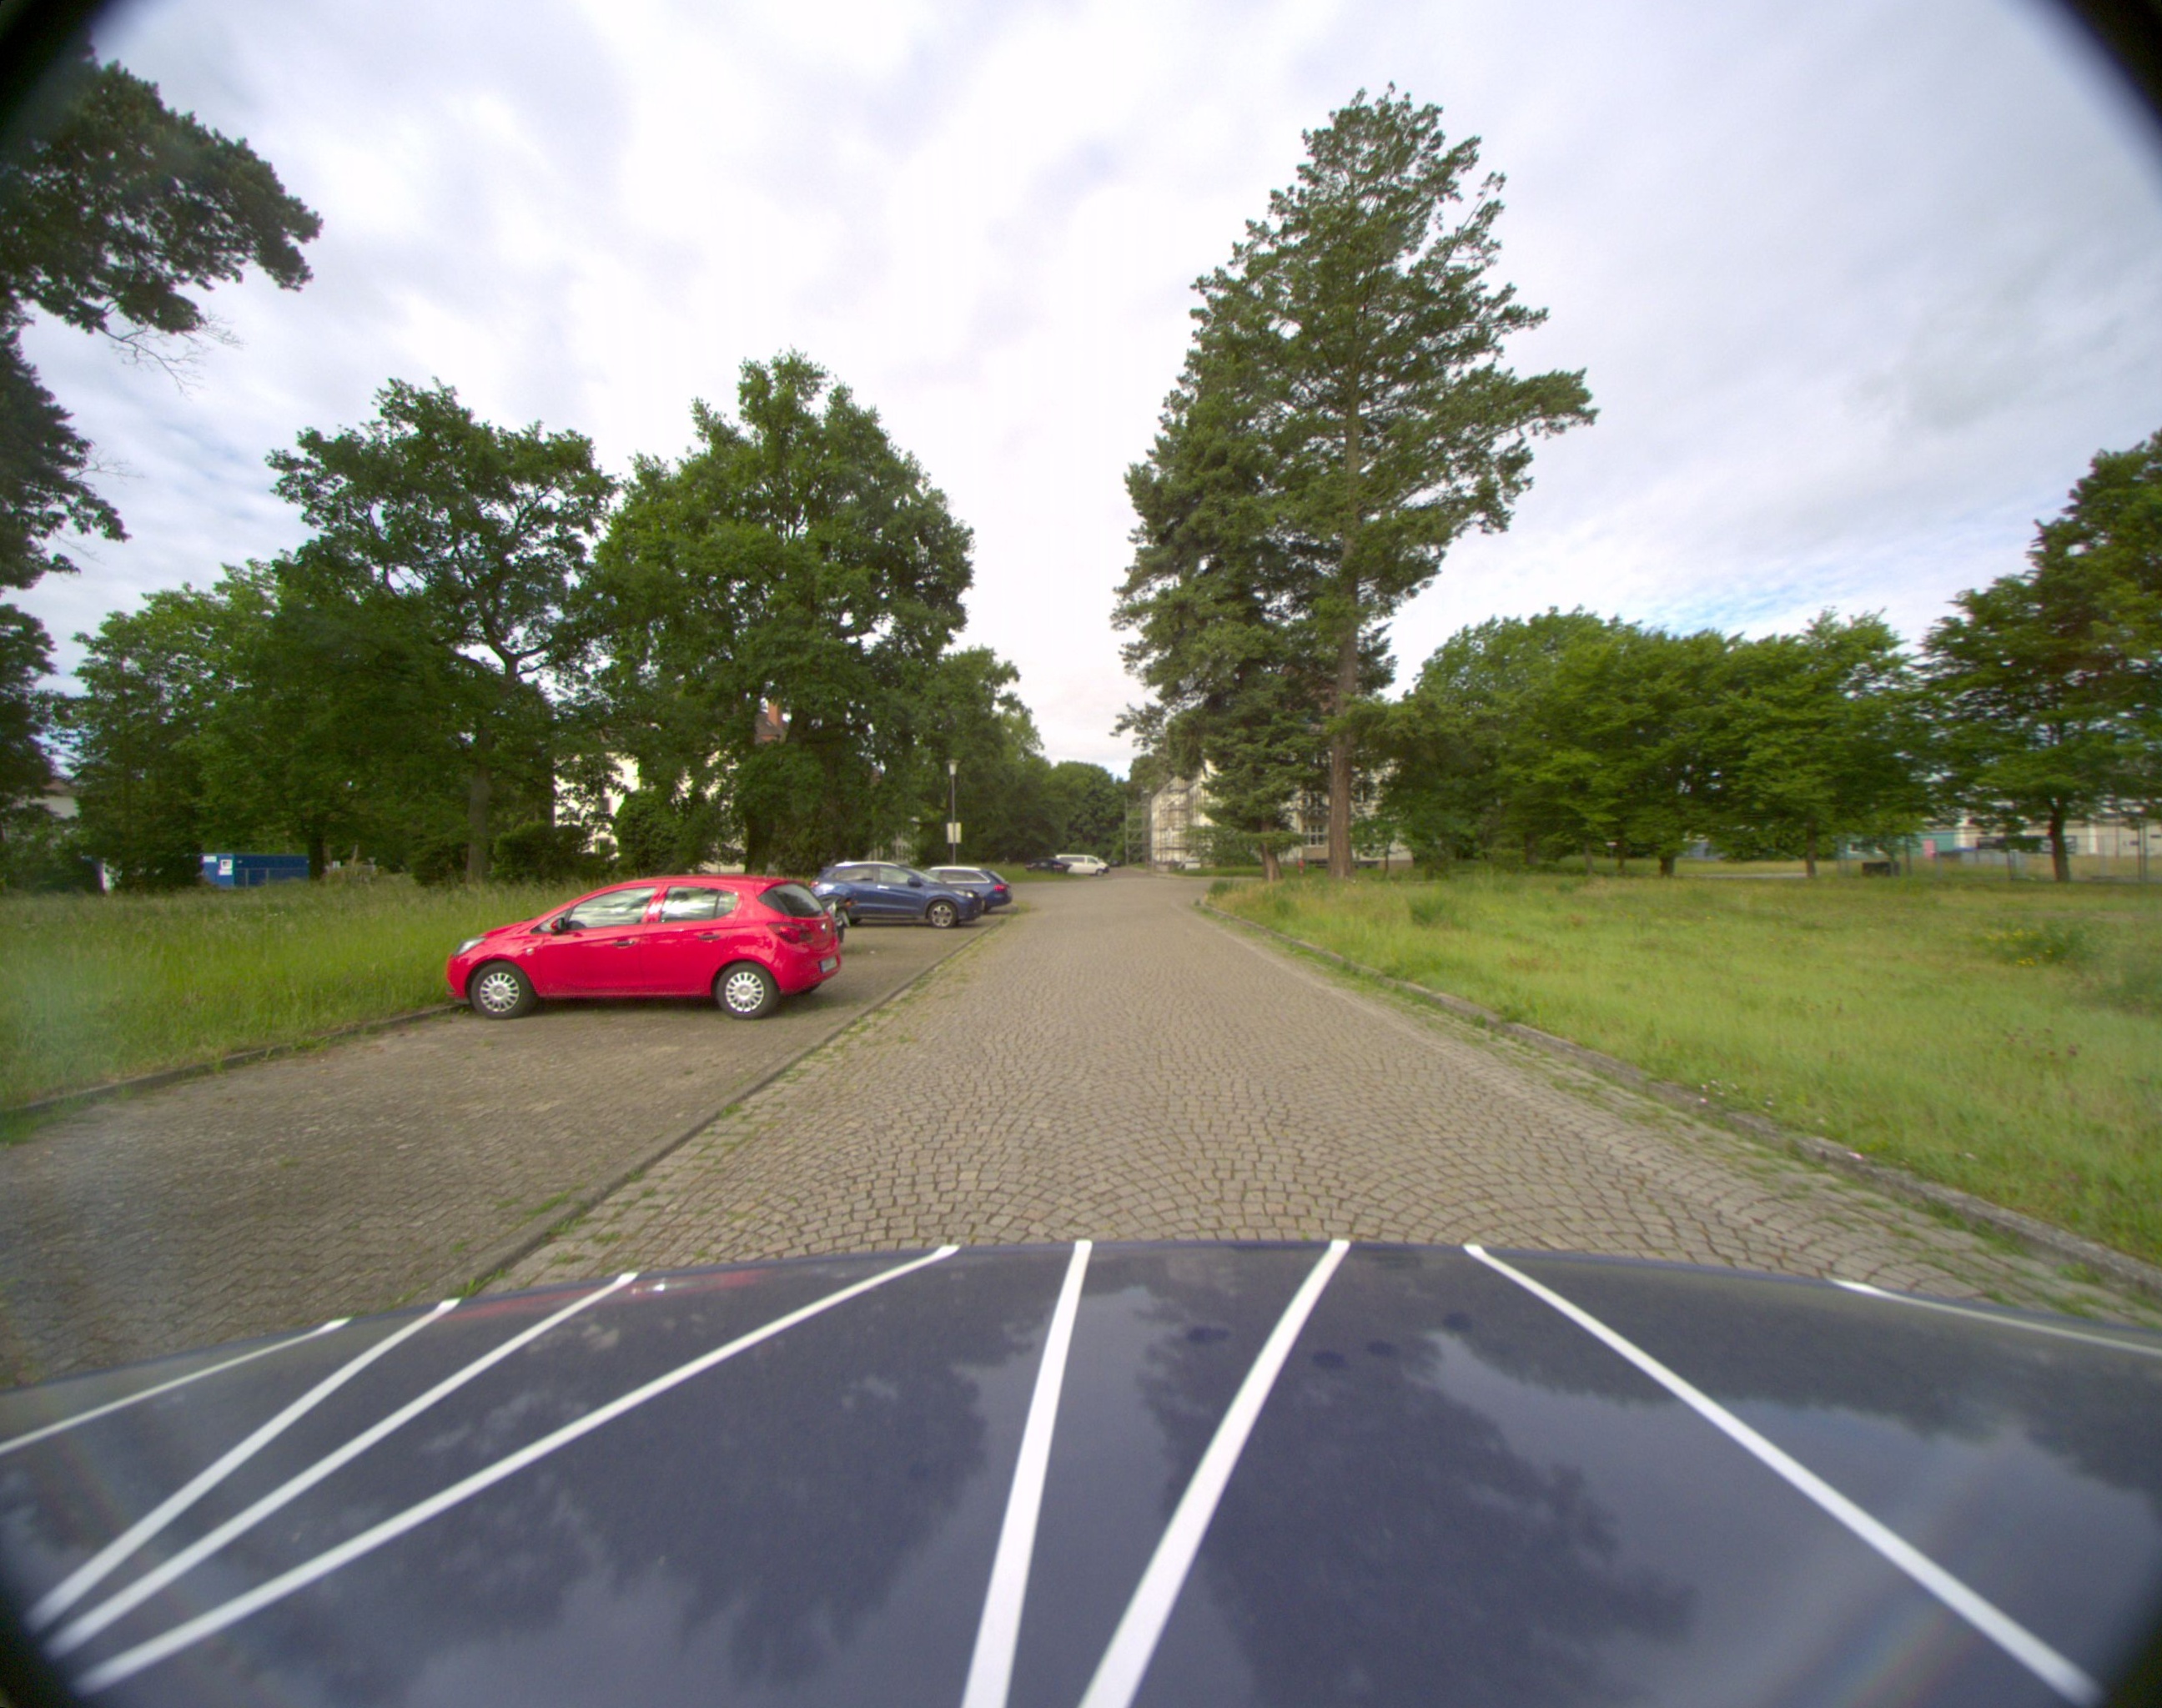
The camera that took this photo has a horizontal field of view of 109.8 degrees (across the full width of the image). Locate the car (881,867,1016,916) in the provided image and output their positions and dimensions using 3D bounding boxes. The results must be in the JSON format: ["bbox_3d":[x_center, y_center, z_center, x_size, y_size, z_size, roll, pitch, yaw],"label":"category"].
[{"bbox_3d":[-3.995,1.118,23.306,3.877,1.417,1.582,0,0,0],"label":"car"}]

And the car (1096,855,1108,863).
[{"bbox_3d":[3.780,0.888,138.433,1.870,1.408,4.695,1,0,-3],"label":"car"}]

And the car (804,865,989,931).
[{"bbox_3d":[-4.421,1.046,18.651,4.150,1.529,1.582,0,0,0],"label":"car"}]

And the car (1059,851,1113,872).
[{"bbox_3d":[0.465,0.703,72.053,5.141,1.860,1.723,0,0,0],"label":"car"}]

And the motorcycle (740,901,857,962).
[{"bbox_3d":[-4.744,1.294,12.845,1.745,0.951,0.614,0,0,-5],"label":"motorcycle"}]

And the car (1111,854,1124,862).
[{"bbox_3d":[6.674,0.794,138.936,1.870,1.408,4.695,1,0,-3],"label":"car"}]

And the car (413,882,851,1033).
[{"bbox_3d":[-4.737,1.071,8.411,3.894,1.451,1.582,0,0,0],"label":"car"}]
